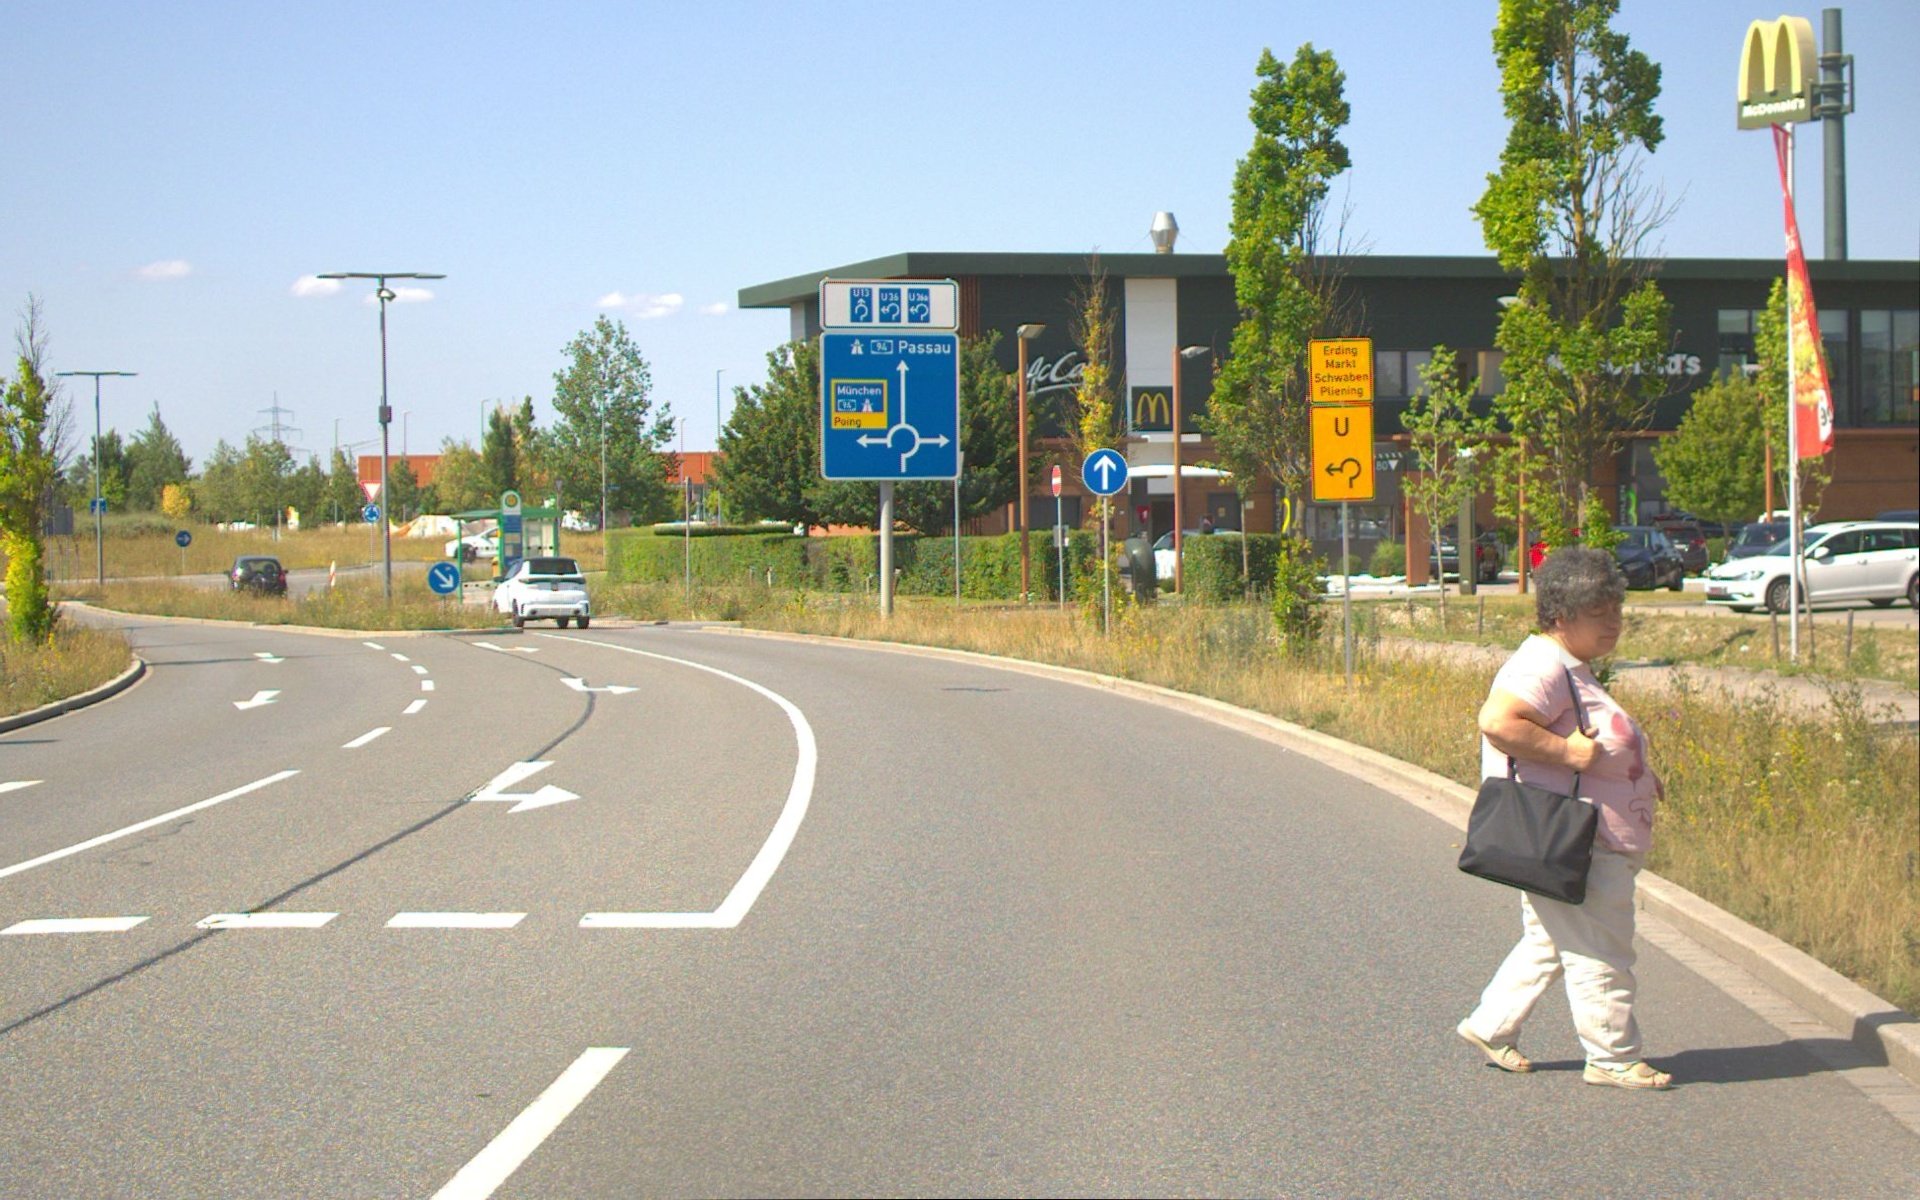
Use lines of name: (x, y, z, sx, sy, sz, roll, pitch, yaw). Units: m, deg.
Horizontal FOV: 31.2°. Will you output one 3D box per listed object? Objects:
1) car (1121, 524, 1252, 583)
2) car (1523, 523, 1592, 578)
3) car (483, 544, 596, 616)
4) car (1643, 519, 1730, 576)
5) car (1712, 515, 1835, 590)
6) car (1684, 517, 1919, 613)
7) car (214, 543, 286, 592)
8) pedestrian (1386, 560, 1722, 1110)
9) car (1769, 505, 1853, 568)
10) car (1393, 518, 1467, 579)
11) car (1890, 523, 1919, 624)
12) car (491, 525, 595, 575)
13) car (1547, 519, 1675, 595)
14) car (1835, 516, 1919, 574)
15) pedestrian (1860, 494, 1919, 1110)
car: (5.715, -1.169, 87.230, 1.792, 1.429, 4.001, -2, 1, -20)
car: (16.352, -1.373, 94.051, 1.793, 1.429, 3.998, -1, 1, 10)
car: (-8.676, -0.427, 70.730, 1.616, 1.429, 3.794, -1, 1, -18)
car: (20.142, -1.462, 95.268, 1.794, 1.508, 3.996, -1, 1, 20)
car: (16.729, -0.989, 70.605, 1.787, 1.457, 4.164, -1, 1, 23)
car: (14.915, -0.618, 58.867, 4.524, 1.485, 1.869, -2, 2, -13)
car: (-21.324, -0.985, 103.105, 1.616, 1.429, 3.793, -1, 1, -19)
pedestrian: (1.645, 0.623, 9.664, 0.793, 1.465, 0.949, 0, 1, 1)
car: (23.993, -1.796, 96.850, 1.794, 1.696, 3.996, -1, 1, 21)
car: (12.787, -1.410, 93.393, 1.793, 1.599, 3.998, -1, 1, 10)
car: (16.305, -0.440, 51.472, 4.203, 1.485, 1.869, -2, 2, -13)
car: (-17.258, -2.083, 142.460, 3.987, 2.007, 1.834, -1, 1, 3)
car: (13.141, -0.885, 69.227, 1.699, 1.457, 4.164, -1, 1, 23)
car: (23.302, -1.346, 82.863, 3.992, 1.368, 1.796, -1, 1, 26)
pedestrian: (2.939, 0.529, 9.305, 0.801, 1.624, 0.805, 0, 1, 1)
